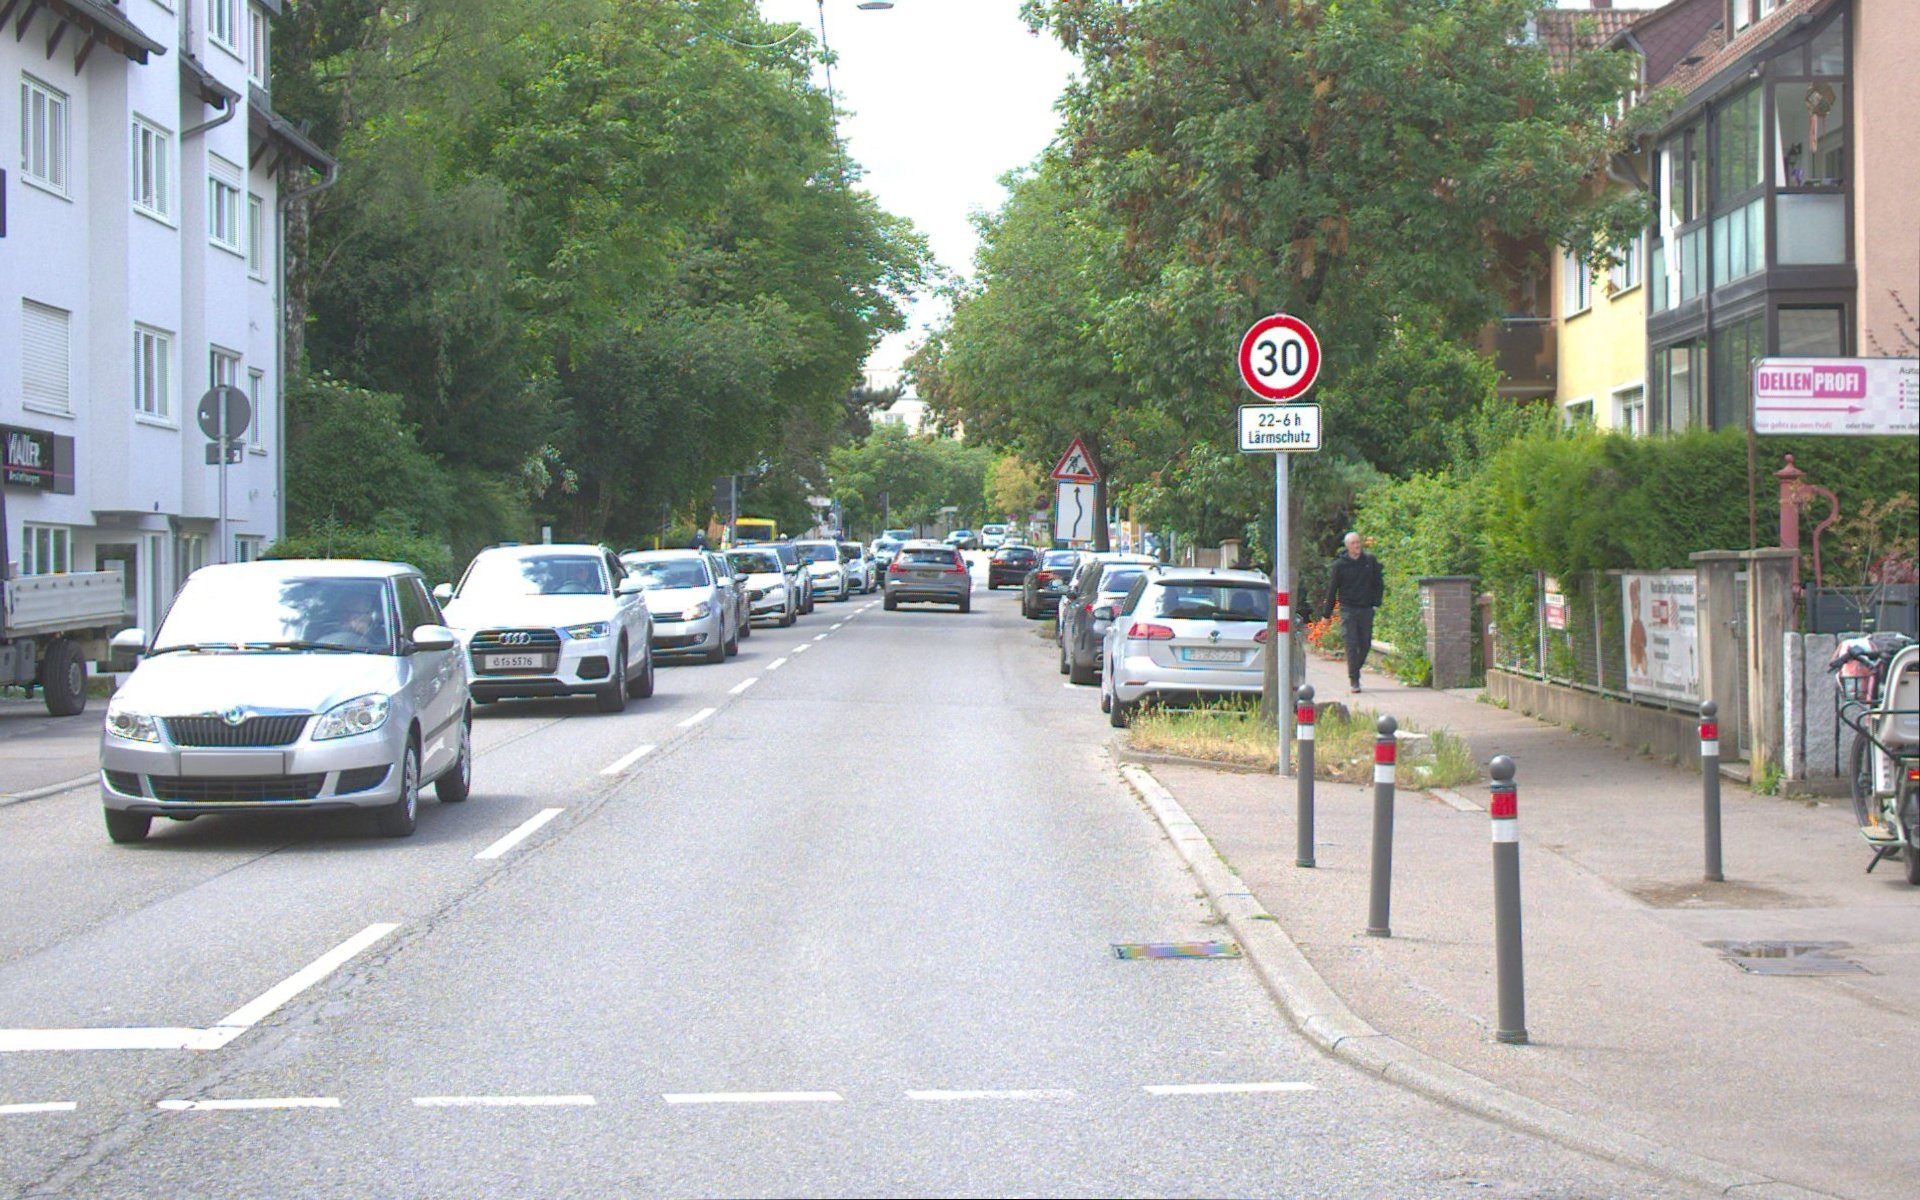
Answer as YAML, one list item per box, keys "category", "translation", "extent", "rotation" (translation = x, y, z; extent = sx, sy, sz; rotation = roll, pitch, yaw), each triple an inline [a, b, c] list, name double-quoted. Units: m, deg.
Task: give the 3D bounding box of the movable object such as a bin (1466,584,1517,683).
- category: "movable object such as a bin"
  translation: [5.814, 0.360, 37.625]
  extent: [0.523, 1.077, 0.604]
  rotation: [0, 0, 6]

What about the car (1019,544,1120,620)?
- category: "car"
  translation: [2.227, -0.397, 70.964]
  extent: [1.801, 1.440, 4.887]
  rotation: [2, 1, -1]

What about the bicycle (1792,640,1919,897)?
- category: "bicycle"
  translation: [4.614, 0.786, 16.889]
  extent: [0.721, 1.146, 2.213]
  rotation: [0, 0, 5]

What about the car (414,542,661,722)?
- category: "car"
  translation: [-4.000, 0.256, 33.156]
  extent: [1.806, 1.566, 4.159]
  rotation: [-2, 1, 0]

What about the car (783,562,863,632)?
- category: "car"
  translation: [-3.512, -0.104, 88.866]
  extent: [1.786, 1.642, 4.491]
  rotation: [-2, 1, 1]

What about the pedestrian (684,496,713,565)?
- category: "pedestrian"
  translation: [-6.698, -1.775, 87.977]
  extent: [0.714, 1.756, 1.122]
  rotation: [0, 0, -5]

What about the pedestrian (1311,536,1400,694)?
- category: "pedestrian"
  translation: [4.308, 0.161, 37.502]
  extent: [0.880, 1.706, 0.842]
  rotation: [0, 0, 2]

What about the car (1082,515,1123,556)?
- category: "car"
  translation: [7.084, -3.192, 170.868]
  extent: [1.993, 2.007, 4.000]
  rotation: [0, 0, 2]

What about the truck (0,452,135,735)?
- category: "truck"
  translation: [-9.096, -0.062, 29.494]
  extent: [2.224, 2.372, 6.325]
  rotation: [0, 0, 3]

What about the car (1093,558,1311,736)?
- category: "car"
  translation: [2.204, 0.382, 32.419]
  extent: [1.701, 1.475, 4.872]
  rotation: [1, 1, 0]

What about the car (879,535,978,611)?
- category: "car"
  translation: [-0.665, -0.613, 75.277]
  extent: [1.976, 1.508, 4.267]
  rotation: [3, 1, 1]

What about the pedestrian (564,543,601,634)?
- category: "pedestrian"
  translation: [-6.932, -0.207, 63.174]
  extent: [0.653, 1.661, 0.932]
  rotation: [0, 0, -5]

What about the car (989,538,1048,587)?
- category: "car"
  translation: [1.904, -1.217, 110.773]
  extent: [1.816, 1.495, 4.267]
  rotation: [1, 1, 2]

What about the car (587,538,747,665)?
- category: "car"
  translation: [-3.798, -0.021, 45.193]
  extent: [1.728, 1.497, 4.376]
  rotation: [-2, 1, -1]

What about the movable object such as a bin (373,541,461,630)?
- category: "movable object such as a bin"
  translation: [-8.815, -0.236, 55.860]
  extent: [1.329, 1.422, 1.214]
  rotation: [0, 0, -6]

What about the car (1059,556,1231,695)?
- category: "car"
  translation: [2.140, 0.254, 40.863]
  extent: [1.734, 1.424, 4.883]
  rotation: [3, 1, 0]

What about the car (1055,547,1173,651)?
- category: "car"
  translation: [2.309, -0.044, 52.167]
  extent: [1.621, 1.502, 3.779]
  rotation: [0, 1, 0]

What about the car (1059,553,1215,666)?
- category: "car"
  translation: [2.356, 0.089, 46.767]
  extent: [1.993, 1.418, 4.588]
  rotation: [0, 1, 1]

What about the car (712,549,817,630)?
- category: "car"
  translation: [-4.149, -0.256, 73.435]
  extent: [1.928, 1.541, 4.087]
  rotation: [-3, 1, 0]

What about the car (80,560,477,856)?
- category: "car"
  translation: [-3.726, 0.527, 19.366]
  extent: [1.617, 1.481, 3.813]
  rotation: [0, 1, -2]

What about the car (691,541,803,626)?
- category: "car"
  translation: [-3.875, -0.325, 62.967]
  extent: [1.760, 1.434, 3.970]
  rotation: [-2, 1, 0]

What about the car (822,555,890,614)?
- category: "car"
  translation: [-3.030, -0.476, 100.980]
  extent: [1.785, 1.586, 4.154]
  rotation: [-2, 1, 1]
